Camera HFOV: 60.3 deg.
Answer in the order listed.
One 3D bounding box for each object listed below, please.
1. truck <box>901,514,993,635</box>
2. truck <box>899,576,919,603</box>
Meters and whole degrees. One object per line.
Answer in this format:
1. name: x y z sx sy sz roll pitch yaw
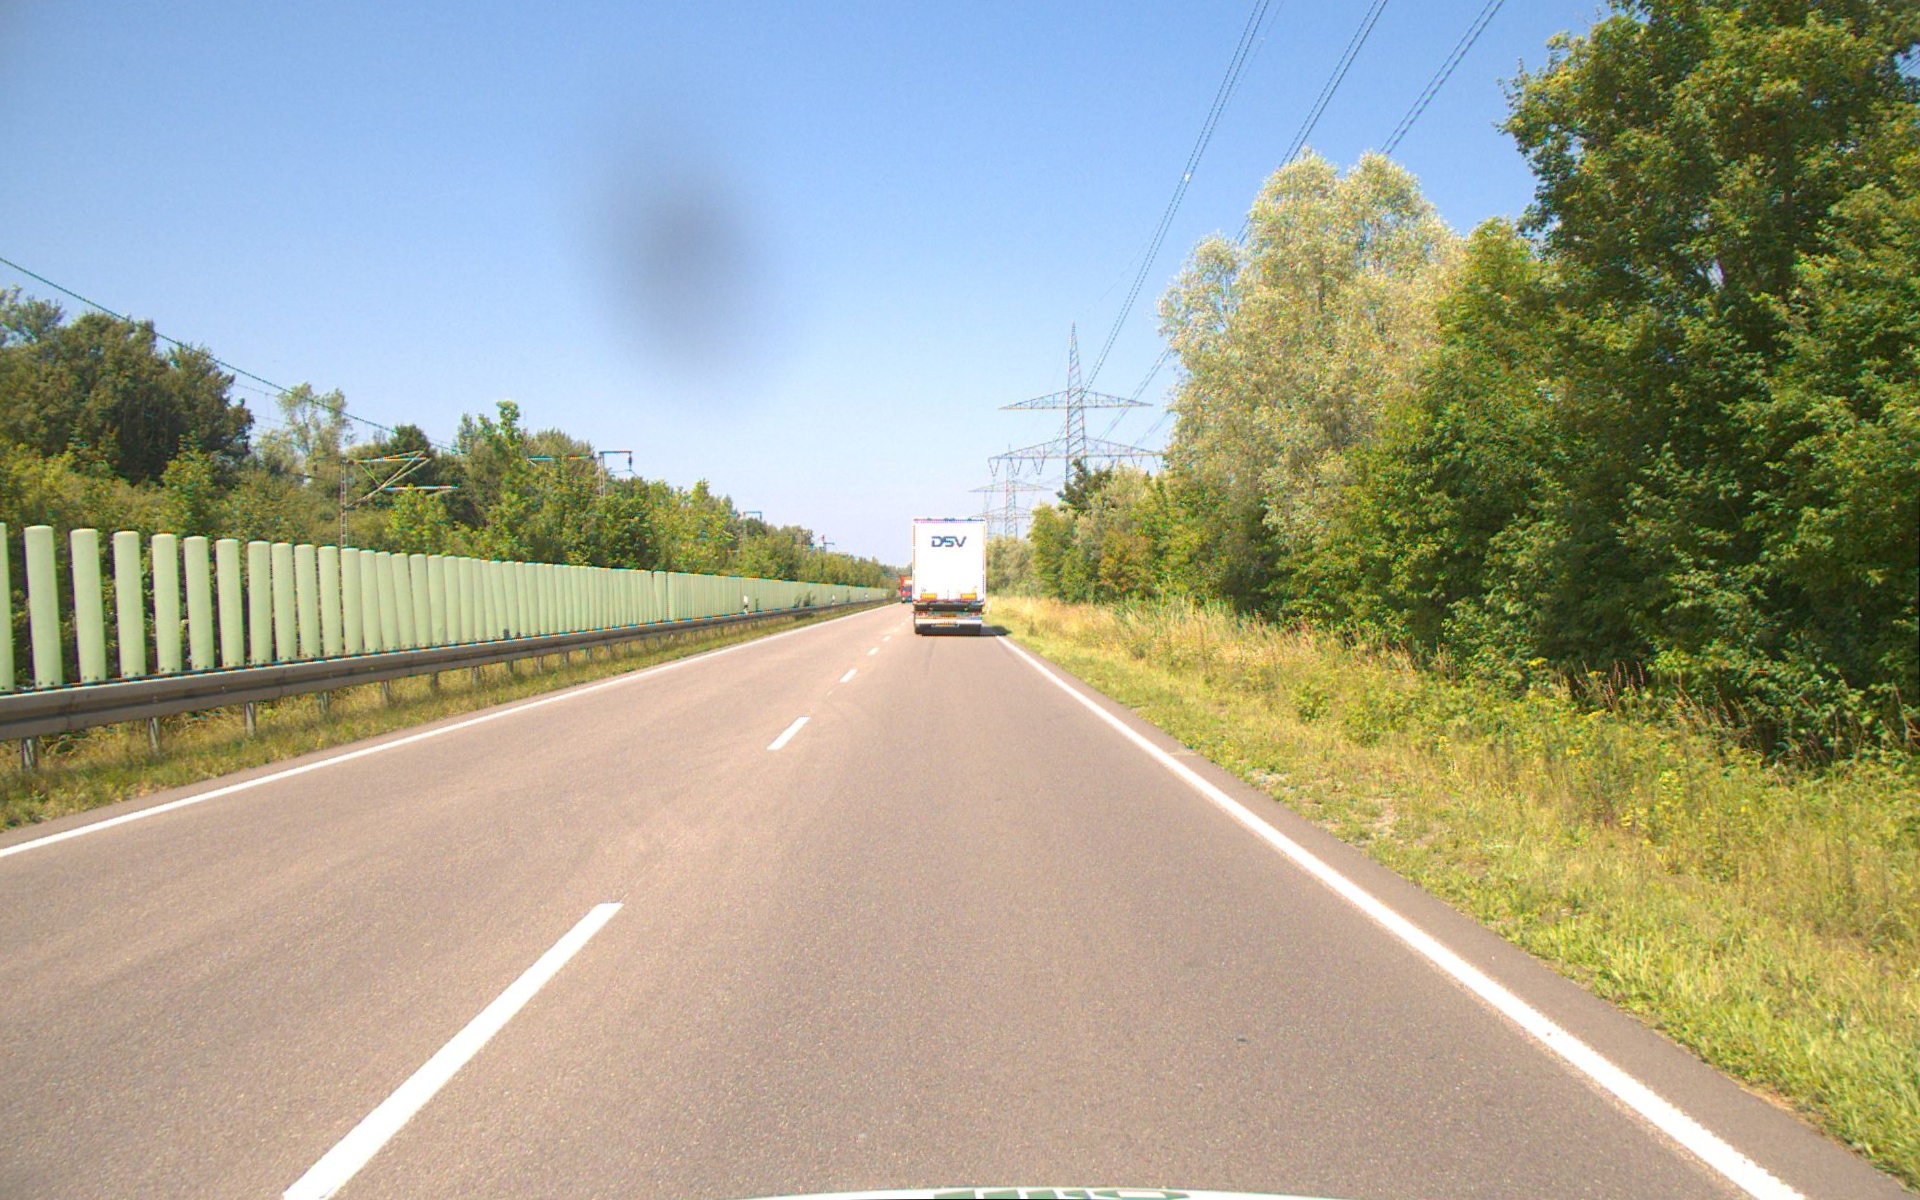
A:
1. truck: -0.575 -0.901 62.341 3.127 4.113 12.003 0 0 -1
2. truck: -7.240 -1.475 234.978 2.678 3.662 9.524 0 0 -1
